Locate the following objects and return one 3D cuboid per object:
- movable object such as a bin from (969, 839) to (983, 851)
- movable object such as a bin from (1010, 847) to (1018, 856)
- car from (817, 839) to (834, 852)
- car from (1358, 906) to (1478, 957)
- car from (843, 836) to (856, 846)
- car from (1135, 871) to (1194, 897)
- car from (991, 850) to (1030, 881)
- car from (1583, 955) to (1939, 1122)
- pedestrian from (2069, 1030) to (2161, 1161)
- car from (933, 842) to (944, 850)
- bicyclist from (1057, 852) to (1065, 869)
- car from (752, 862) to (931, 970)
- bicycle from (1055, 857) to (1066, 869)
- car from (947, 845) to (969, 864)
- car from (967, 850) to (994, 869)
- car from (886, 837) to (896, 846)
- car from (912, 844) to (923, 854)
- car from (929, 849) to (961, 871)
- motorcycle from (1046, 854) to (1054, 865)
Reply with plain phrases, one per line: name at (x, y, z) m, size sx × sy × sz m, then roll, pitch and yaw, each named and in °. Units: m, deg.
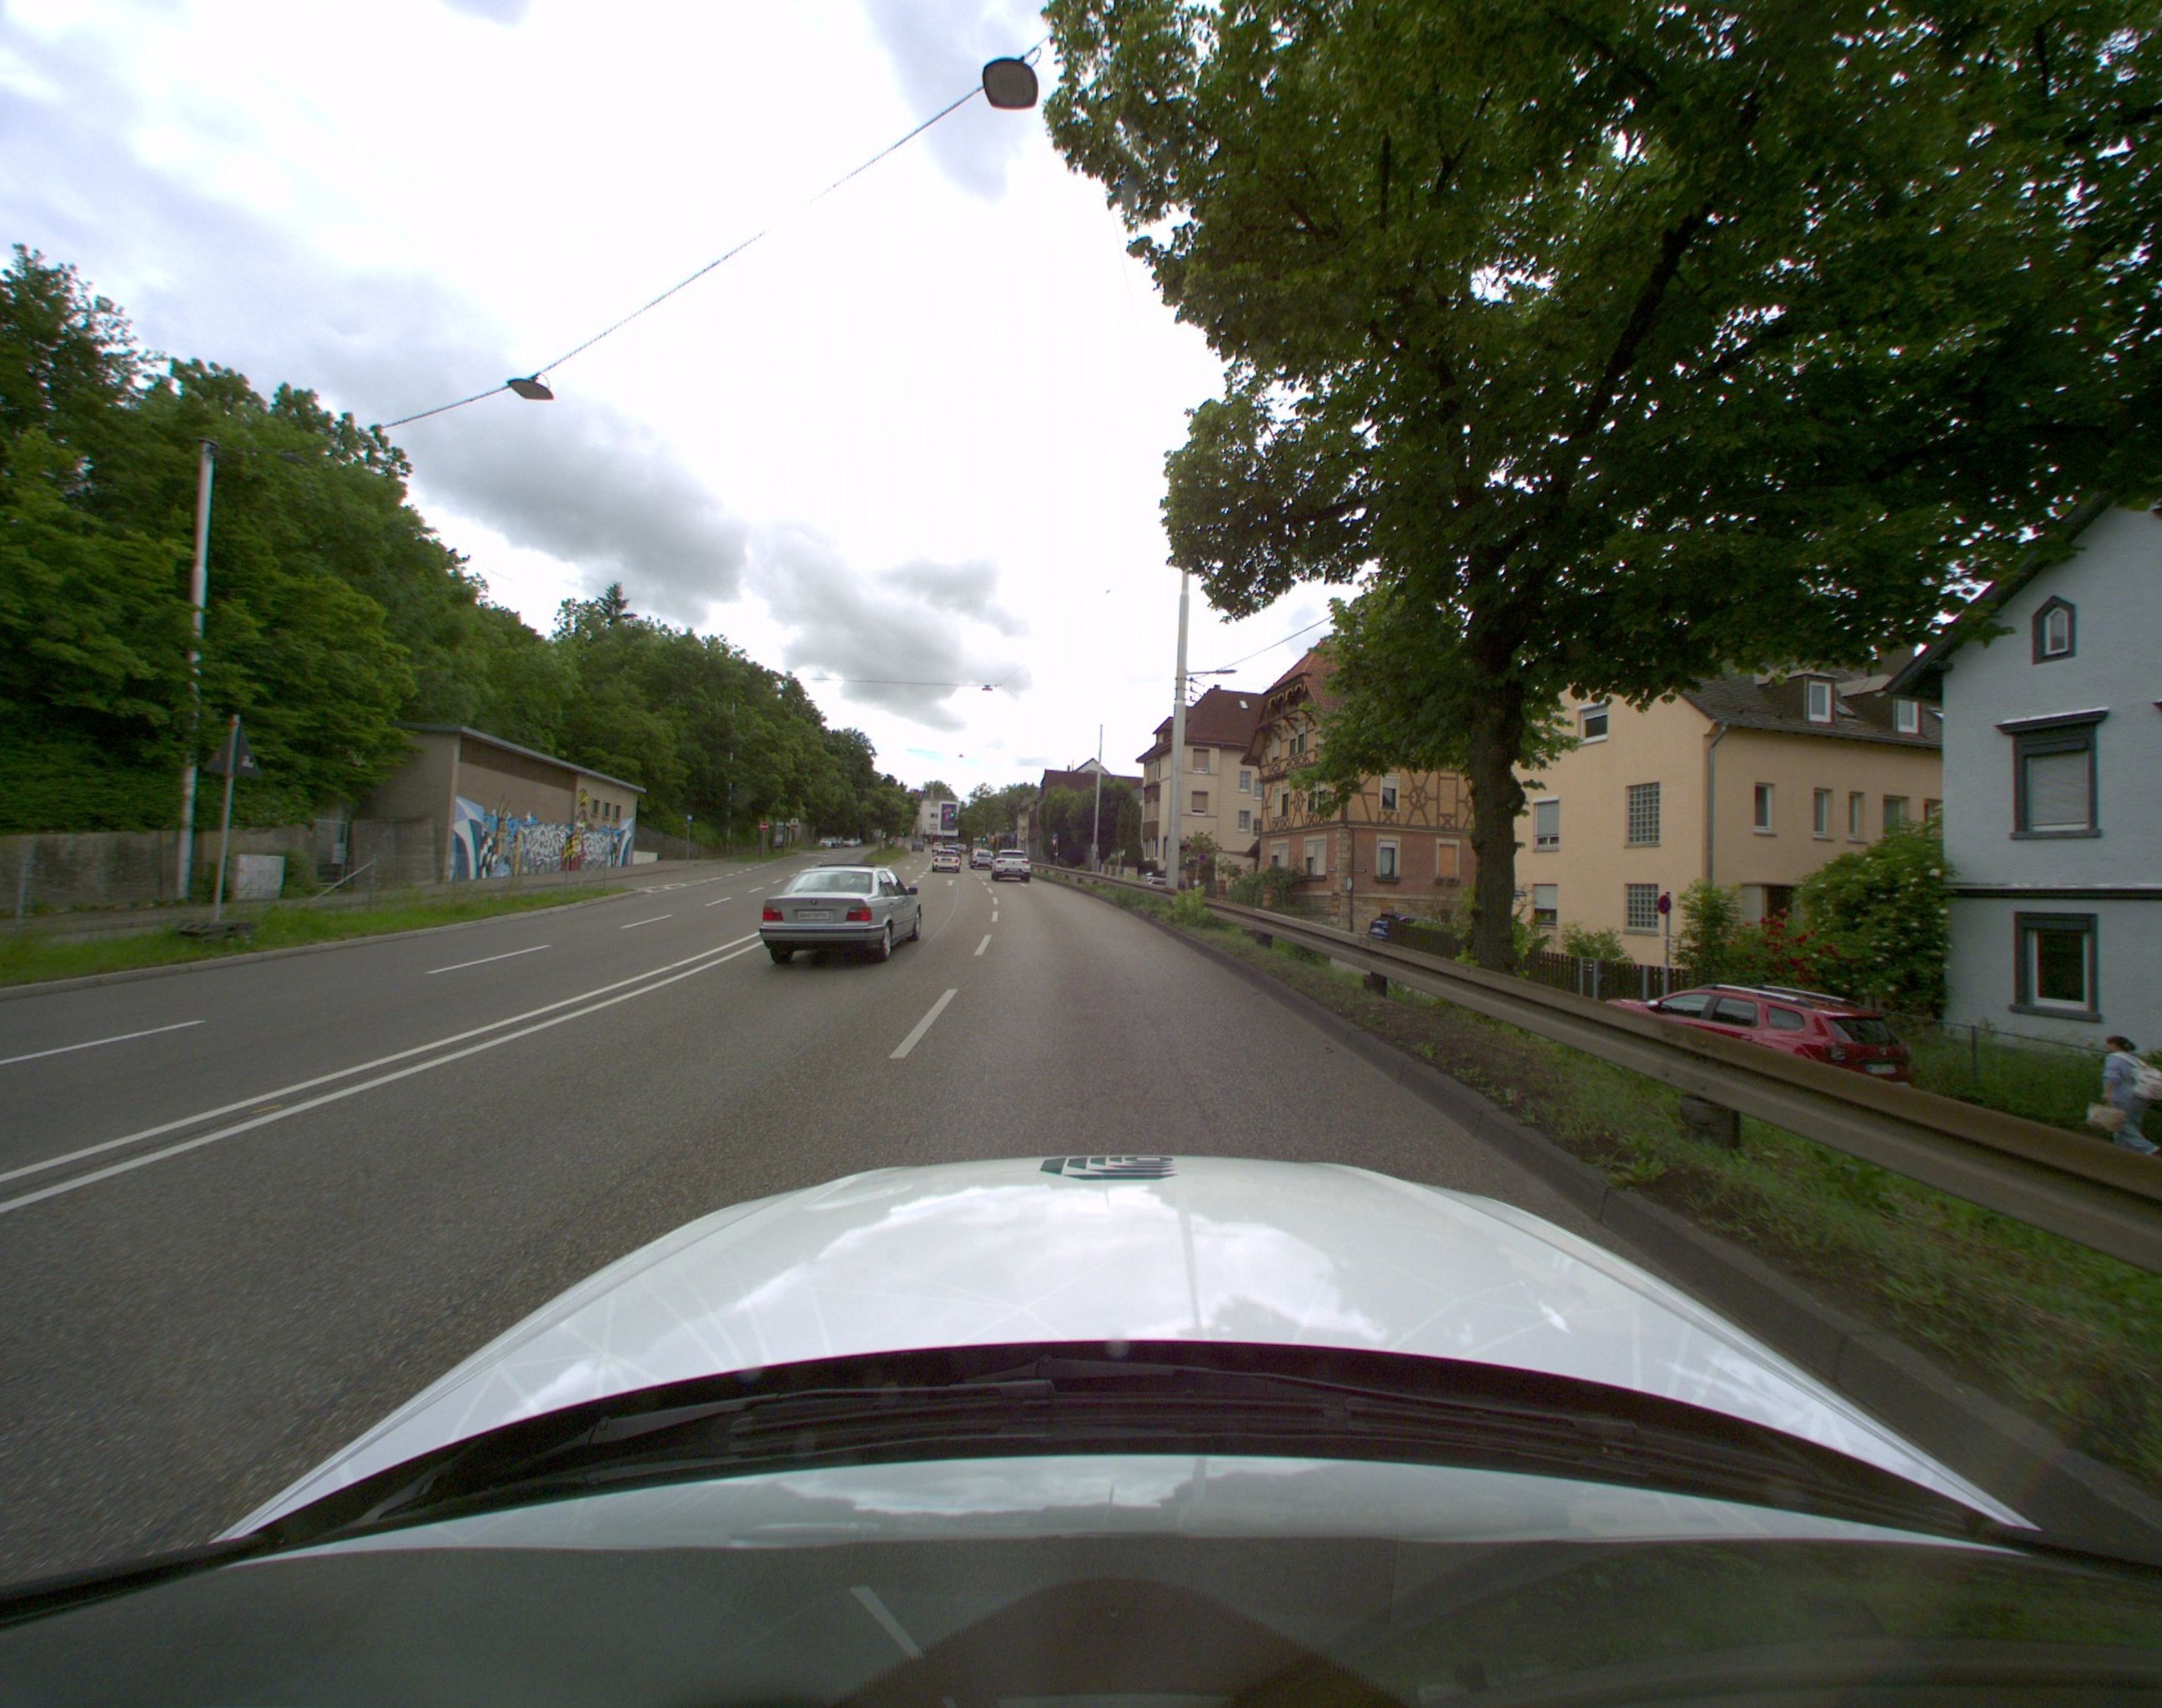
movable object such as a bin at (-17.312, -1.505, 134.055) m, size 1.897 × 1.870 × 1.519 m, roll 4°, pitch 0°, yaw -19°
movable object such as a bin at (-10.883, -0.371, 132.174) m, size 1.196 × 1.408 × 0.708 m, roll 4°, pitch 0°, yaw -11°
car at (-36.308, -1.278, 115.744) m, size 1.861 × 1.670 × 4.262 m, roll 4°, pitch 0°, yaw -12°
car at (13.609, 3.118, 32.968) m, size 3.991 × 1.574 × 1.992 m, roll 5°, pitch 0°, yaw -13°
car at (-39.218, -2.187, 138.054) m, size 1.861 × 1.593 × 4.262 m, roll 4°, pitch 0°, yaw -12°
car at (5.805, 2.081, 56.575) m, size 3.621 × 1.434 × 1.690 m, roll 5°, pitch 0°, yaw -27°
car at (-3.583, 0.561, 41.100) m, size 1.796 × 1.519 × 3.447 m, roll 0°, pitch 0°, yaw -8°
car at (10.708, 2.813, 13.304) m, size 1.784 × 1.670 × 4.184 m, roll 3°, pitch 0°, yaw -13°
pedestrian at (13.209, 3.041, 10.332) m, size 0.618 × 1.480 × 0.587 m, roll 4°, pitch 0°, yaw -11°
car at (-23.789, -1.277, 135.771) m, size 1.723 × 1.376 × 3.443 m, roll 0°, pitch 0°, yaw -11°
bicyclist at (-1.839, 0.597, 73.529) m, size 0.567 × 1.525 × 0.955 m, roll 0°, pitch 1°, yaw -13°
car at (-3.565, 0.837, 13.015) m, size 1.630 × 1.383 × 4.615 m, roll -1°, pitch -1°, yaw -2°
bicycle at (-1.851, 0.810, 73.550) m, size 0.567 × 1.063 × 1.997 m, roll 0°, pitch 1°, yaw -12°
car at (-11.126, 0.024, 73.458) m, size 1.724 × 1.640 × 3.441 m, roll 0°, pitch 0°, yaw -13°
car at (-7.592, 0.378, 61.457) m, size 1.724 × 1.376 × 3.442 m, roll 0°, pitch 0°, yaw -12°
car at (-39.878, -2.640, 171.243) m, size 1.861 × 1.670 × 4.263 m, roll 4°, pitch 0°, yaw -12°
car at (-26.430, -0.757, 131.576) m, size 1.724 × 1.583 × 3.441 m, roll 0°, pitch 0°, yaw -13°
car at (-8.714, 0.356, 52.060) m, size 1.726 × 1.376 × 3.439 m, roll 0°, pitch 0°, yaw -15°
motorcycle at (-3.408, 0.630, 89.695) m, size 0.608 × 1.161 × 2.034 m, roll 1°, pitch 1°, yaw -10°
